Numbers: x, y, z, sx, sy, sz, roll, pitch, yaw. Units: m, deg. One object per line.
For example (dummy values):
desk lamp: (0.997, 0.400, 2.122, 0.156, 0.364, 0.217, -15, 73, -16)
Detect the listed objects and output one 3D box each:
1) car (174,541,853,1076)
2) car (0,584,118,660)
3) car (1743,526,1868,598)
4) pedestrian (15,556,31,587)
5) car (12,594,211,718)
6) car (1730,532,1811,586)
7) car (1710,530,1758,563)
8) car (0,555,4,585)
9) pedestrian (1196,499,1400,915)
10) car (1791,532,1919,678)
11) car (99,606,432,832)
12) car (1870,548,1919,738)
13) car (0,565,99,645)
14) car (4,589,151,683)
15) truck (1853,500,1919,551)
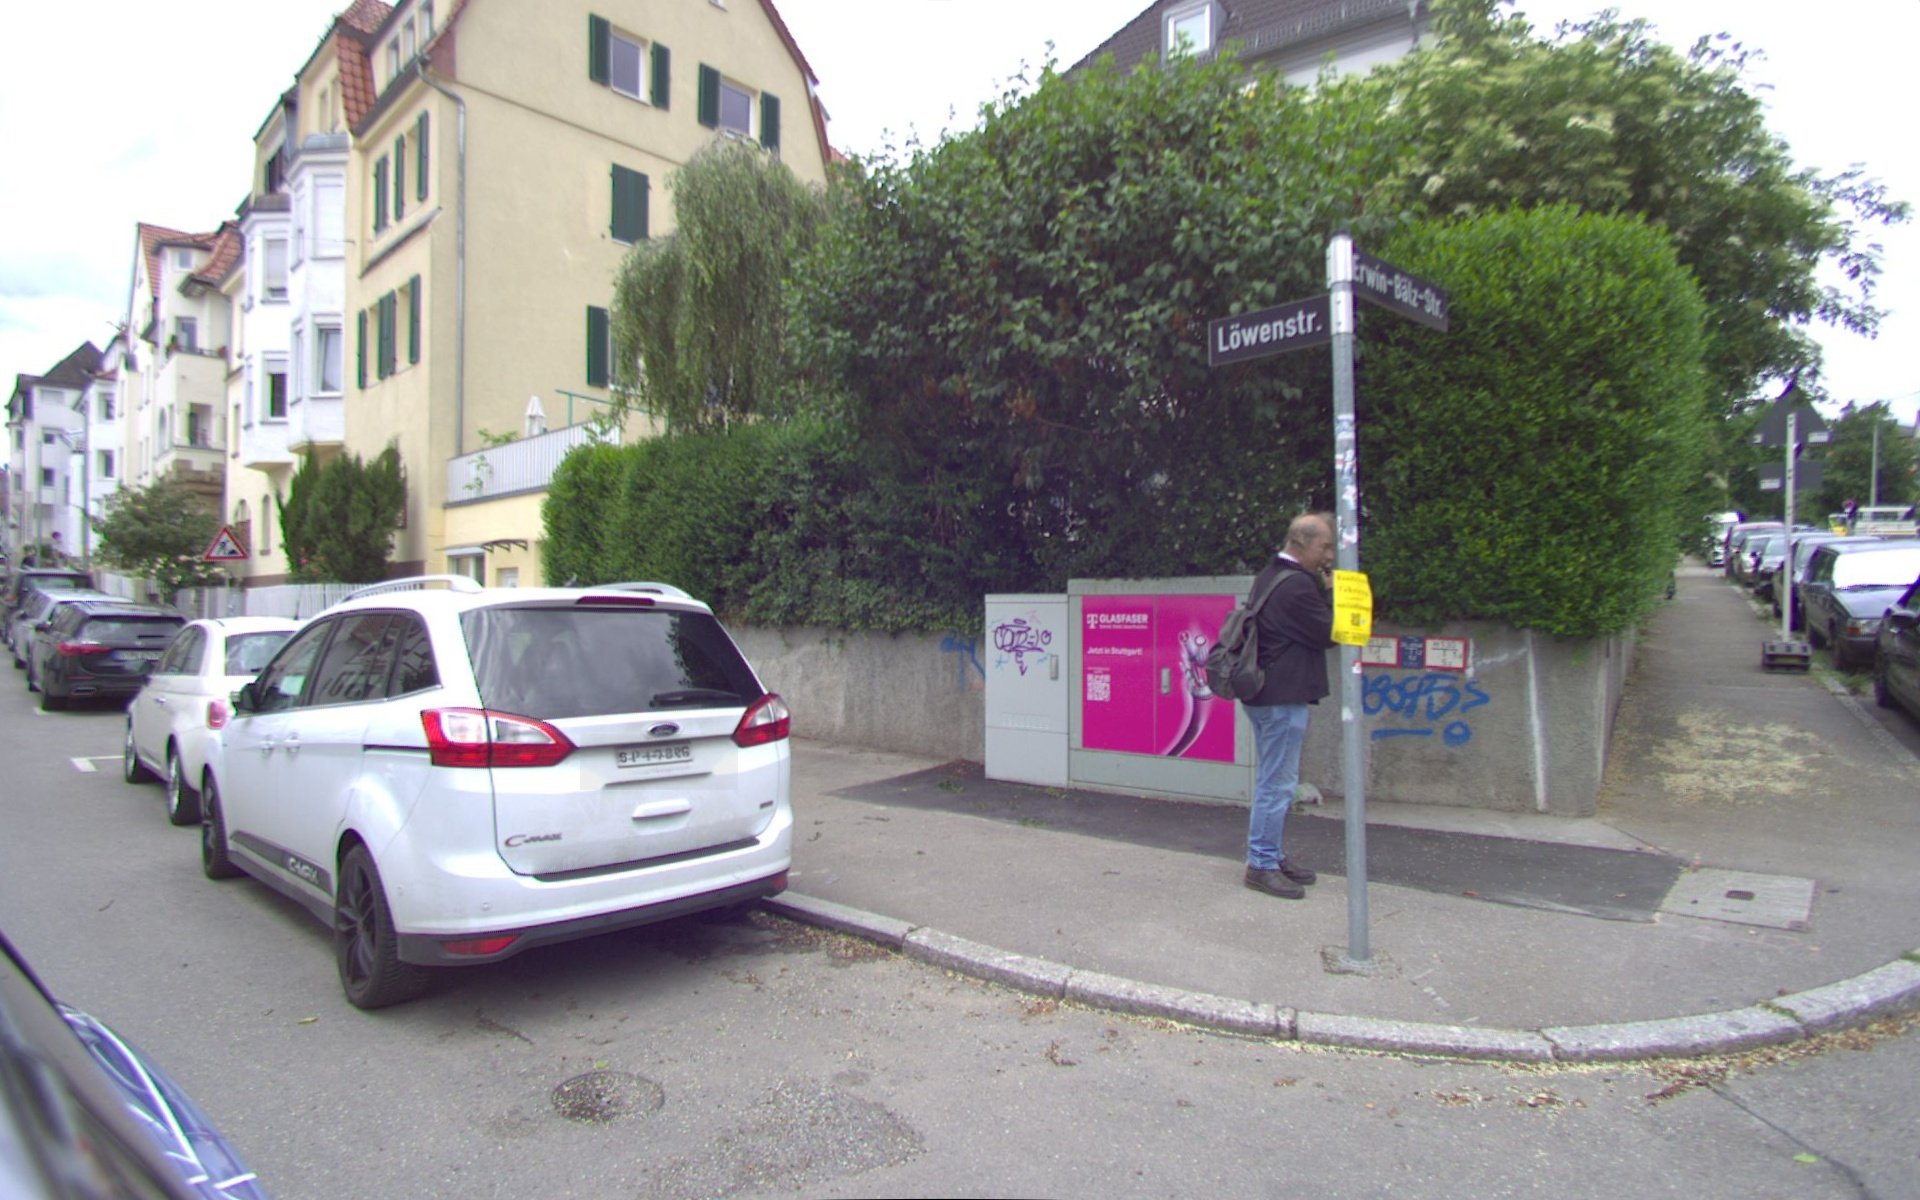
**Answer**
car: (-2.583, 0.695, 5.268, 4.152, 1.672, 1.784, -1, -2, 44)
car: (-19.711, 0.455, 22.057, 3.704, 1.409, 1.620, 3, -1, 44)
car: (18.992, -0.896, 22.893, 1.789, 1.428, 4.241, -1, 3, 35)
pedestrian: (-50.881, -1.541, 54.941, 0.608, 1.669, 0.813, -1, 2, -45)
car: (-12.503, 0.706, 14.816, 4.330, 1.491, 1.782, 2, 0, 44)
car: (22.820, -1.188, 28.586, 1.537, 1.398, 3.510, -1, 3, 35)
car: (34.972, -2.428, 45.795, 1.537, 1.398, 3.339, -1, 3, 35)
car: (-54.474, -1.704, 56.425, 1.640, 1.578, 4.003, 2, 1, -44)
pedestrian: (1.599, 0.458, 4.766, 0.817, 1.773, 0.639, -1, 1, 23)
car: (11.922, -0.056, 12.661, 1.883, 1.493, 4.681, -1, 3, 34)
car: (-6.022, 0.845, 8.618, 3.615, 1.464, 1.589, 1, -3, 44)
car: (8.815, 0.330, 8.121, 1.783, 1.534, 3.676, -2, 2, 35)
car: (-23.107, 0.074, 25.362, 4.149, 1.810, 1.730, 3, 0, 42)
car: (-16.149, 0.590, 18.448, 4.125, 1.439, 1.620, 2, 0, 44)
truck: (47.039, -3.770, 51.117, 2.426, 2.375, 4.843, 1, 4, 37)
